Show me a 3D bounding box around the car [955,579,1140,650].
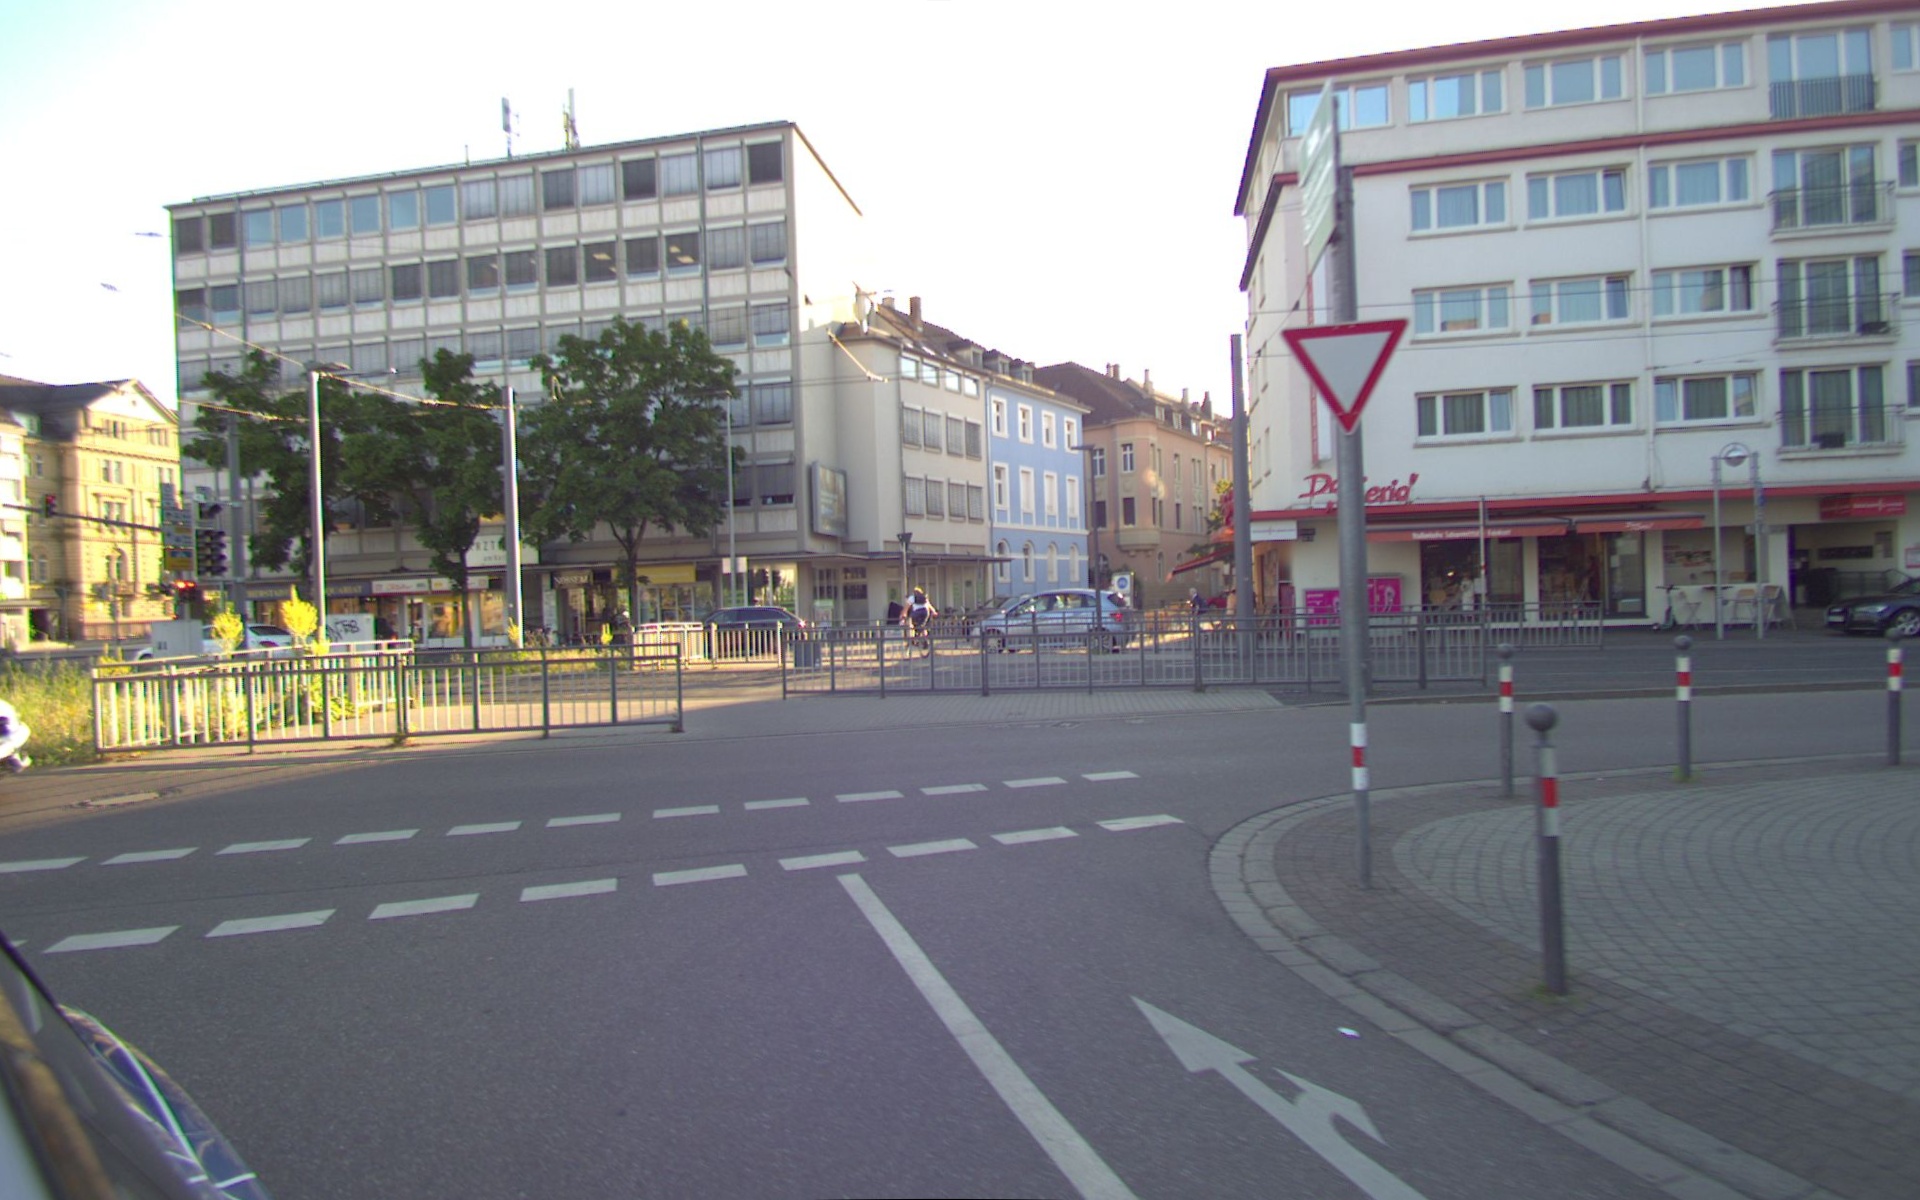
[{"bbox_3d":[2.224,0.352,25.287,4.241,1.571,2.194,-2,0,16],"label":"car"}]

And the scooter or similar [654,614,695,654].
[{"bbox_3d":[-10.051,1.195,35.648,0.514,1.332,1.264,-2,-1,40],"label":"scooter or similar"}]

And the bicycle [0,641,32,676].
[{"bbox_3d":[-27.510,1.684,28.459,1.920,0.937,0.727,-2,0,-22],"label":"bicycle"}]

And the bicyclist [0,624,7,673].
[{"bbox_3d":[-27.438,1.394,28.485,0.672,1.380,0.718,-2,0,-22],"label":"bicyclist"}]

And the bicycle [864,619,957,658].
[{"bbox_3d":[-1.200,0.908,24.050,0.834,0.853,2.425,-1,0,-43],"label":"bicycle"}]

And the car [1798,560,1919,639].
[{"bbox_3d":[21.999,-0.072,22.448,4.792,1.678,1.991,-2,0,14],"label":"car"}]

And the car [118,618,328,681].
[{"bbox_3d":[-20.270,1.340,27.914,4.609,1.451,2.035,-2,1,10],"label":"car"}]

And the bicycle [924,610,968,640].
[{"bbox_3d":[-0.595,1.046,42.201,1.772,1.195,0.549,1,1,28],"label":"bicycle"}]

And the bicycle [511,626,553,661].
[{"bbox_3d":[-15.368,1.538,36.380,0.658,1.148,1.744,-2,1,3],"label":"bicycle"}]

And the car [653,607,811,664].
[{"bbox_3d":[-6.806,1.031,30.226,4.296,1.446,1.743,-2,0,-25],"label":"car"}]

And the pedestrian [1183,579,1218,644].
[{"bbox_3d":[6.854,0.330,28.839,0.802,1.802,0.852,-2,0,6],"label":"pedestrian"}]

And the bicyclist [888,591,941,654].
[{"bbox_3d":[-1.072,0.523,23.877,0.823,1.452,0.931,-1,0,-44],"label":"bicyclist"}]

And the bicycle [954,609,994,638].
[{"bbox_3d":[0.610,1.004,44.113,1.678,1.195,0.481,1,1,28],"label":"bicycle"}]

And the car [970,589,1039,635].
[{"bbox_3d":[1.742,0.425,38.447,1.867,1.586,4.233,-2,0,13],"label":"car"}]

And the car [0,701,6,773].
[{"bbox_3d":[-10.194,0.944,7.439,4.236,1.416,1.920,-5,1,-8],"label":"car"}]

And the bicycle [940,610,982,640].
[{"bbox_3d":[0.047,1.057,43.051,1.710,1.195,0.535,1,1,28],"label":"bicycle"}]

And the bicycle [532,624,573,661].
[{"bbox_3d":[-14.461,1.492,35.974,0.532,1.194,1.632,-2,0,10],"label":"bicycle"}]
